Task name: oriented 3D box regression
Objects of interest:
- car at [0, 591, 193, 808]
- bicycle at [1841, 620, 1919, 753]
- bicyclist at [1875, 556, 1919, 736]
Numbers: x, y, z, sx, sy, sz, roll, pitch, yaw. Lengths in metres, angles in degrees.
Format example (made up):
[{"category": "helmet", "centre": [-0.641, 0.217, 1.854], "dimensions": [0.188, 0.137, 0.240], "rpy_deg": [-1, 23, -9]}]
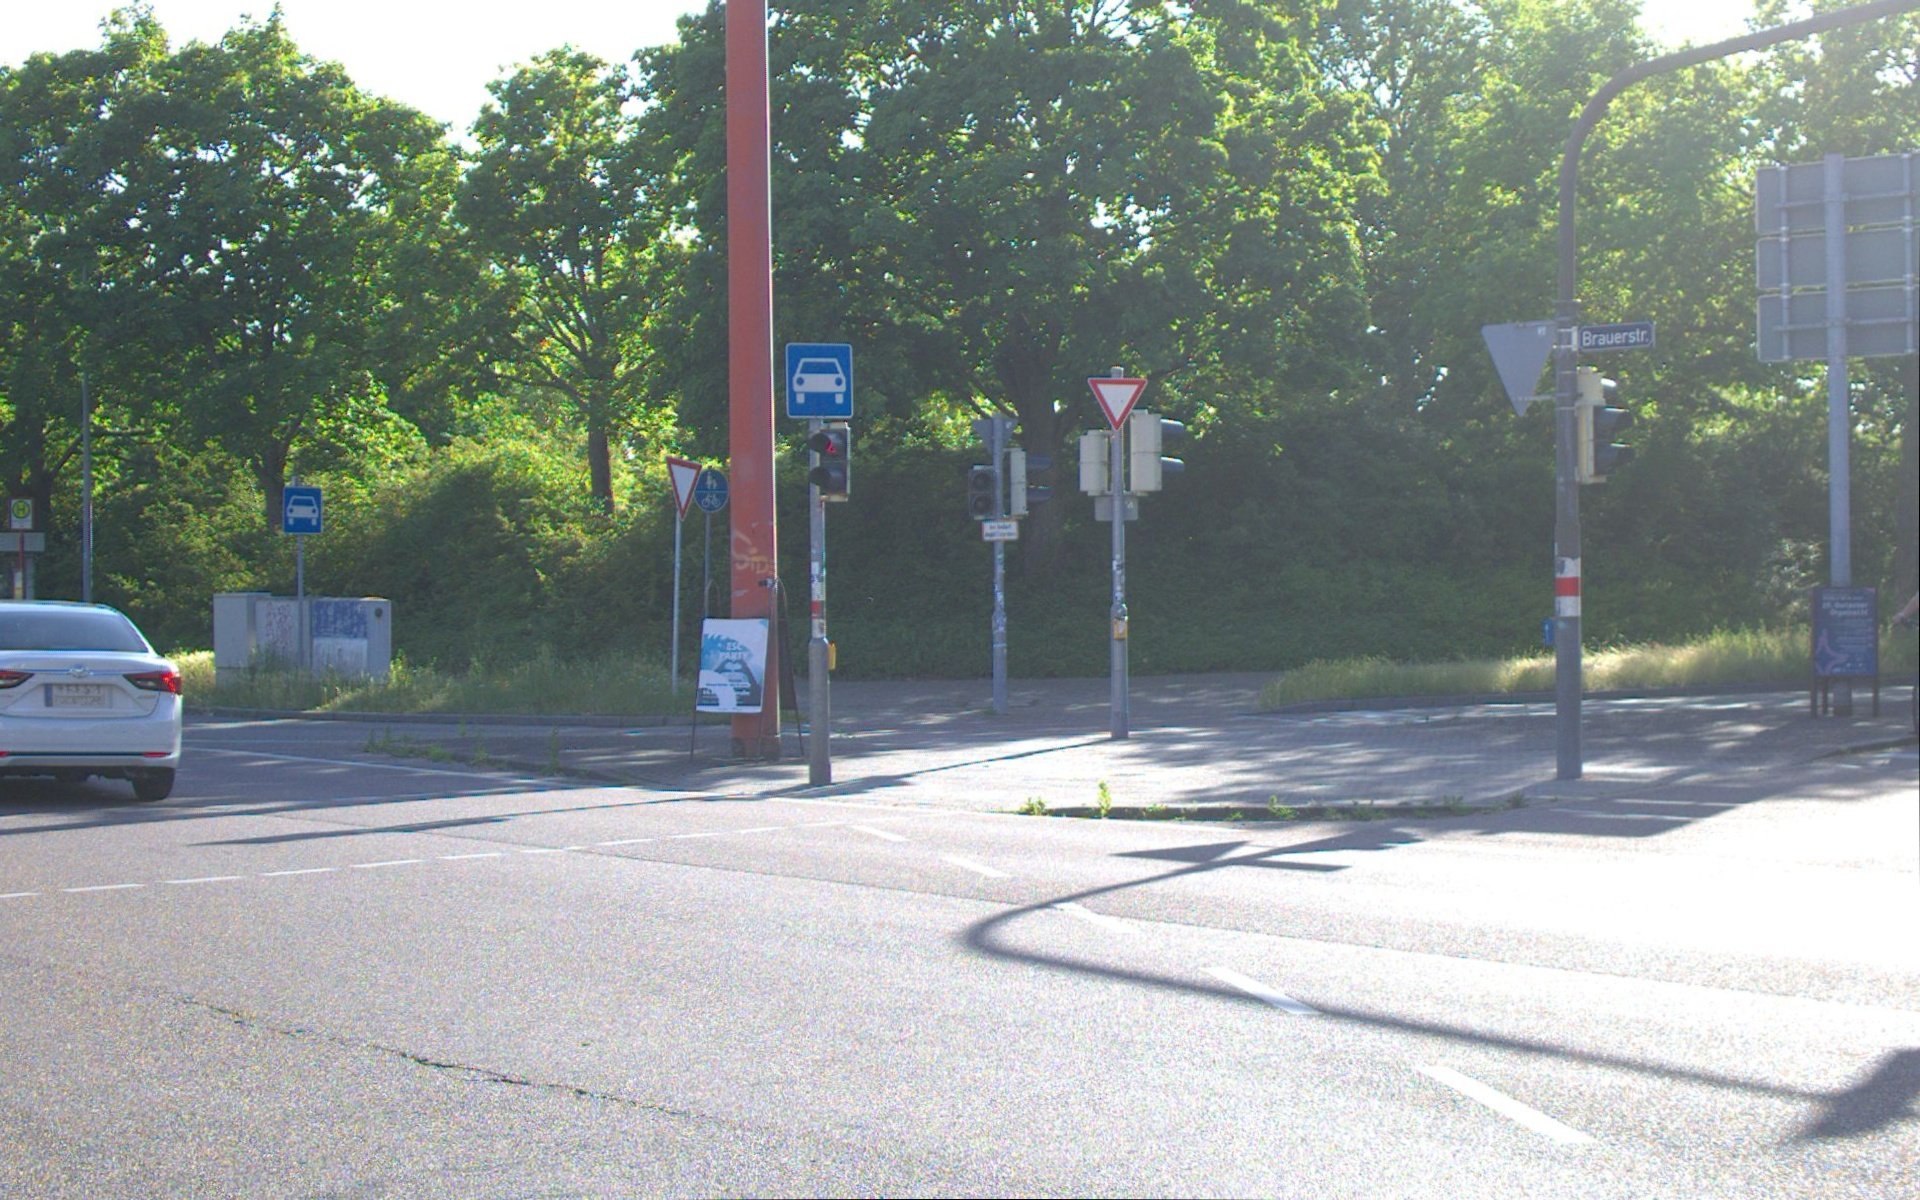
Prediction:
[{"category": "car", "centre": [-7.223, 0.689, 26.061], "dimensions": [1.767, 1.459, 4.367], "rpy_deg": [0, 1, -26]}, {"category": "bicycle", "centre": [8.557, 0.731, 30.084], "dimensions": [0.765, 1.087, 2.010], "rpy_deg": [0, 1, 43]}, {"category": "bicyclist", "centre": [8.611, 0.387, 30.137], "dimensions": [0.761, 1.552, 0.979], "rpy_deg": [0, 1, 43]}]
